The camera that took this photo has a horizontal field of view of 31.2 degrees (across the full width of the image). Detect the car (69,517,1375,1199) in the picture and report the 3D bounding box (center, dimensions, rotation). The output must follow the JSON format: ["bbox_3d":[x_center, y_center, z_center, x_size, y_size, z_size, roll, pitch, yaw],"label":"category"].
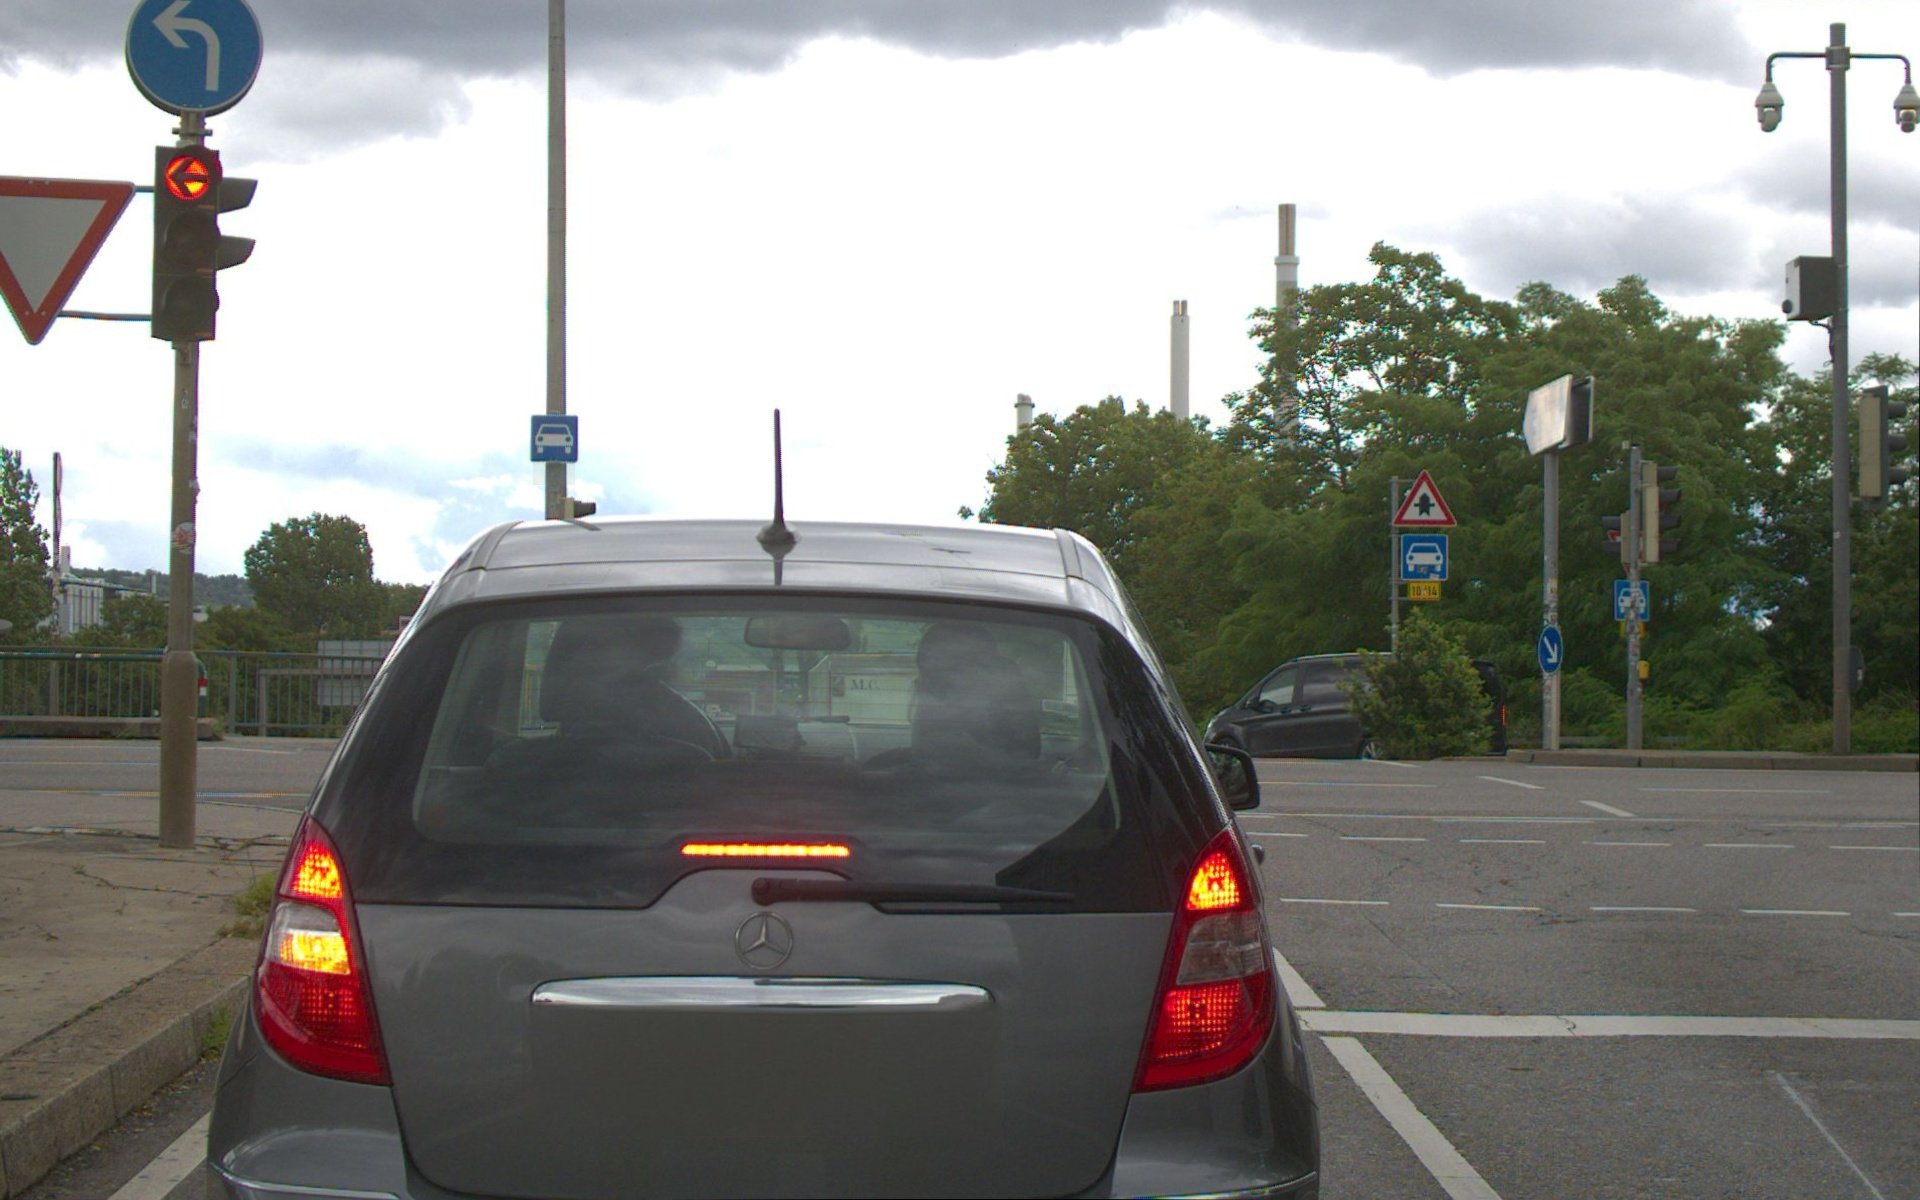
[{"bbox_3d":[-0.289,0.637,6.895,1.858,1.583,4.000,0,2,2],"label":"car"}]

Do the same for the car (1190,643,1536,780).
[{"bbox_3d":[6.004,1.630,51.776,1.999,1.765,5.238,-1,2,-40],"label":"car"}]

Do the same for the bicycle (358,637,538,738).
[{"bbox_3d":[-5.972,1.011,40.048,2.032,1.121,0.929,0,1,-11],"label":"bicycle"}]

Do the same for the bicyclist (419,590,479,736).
[{"bbox_3d":[-5.960,0.726,40.057,0.653,1.668,0.870,0,1,-11],"label":"bicyclist"}]
